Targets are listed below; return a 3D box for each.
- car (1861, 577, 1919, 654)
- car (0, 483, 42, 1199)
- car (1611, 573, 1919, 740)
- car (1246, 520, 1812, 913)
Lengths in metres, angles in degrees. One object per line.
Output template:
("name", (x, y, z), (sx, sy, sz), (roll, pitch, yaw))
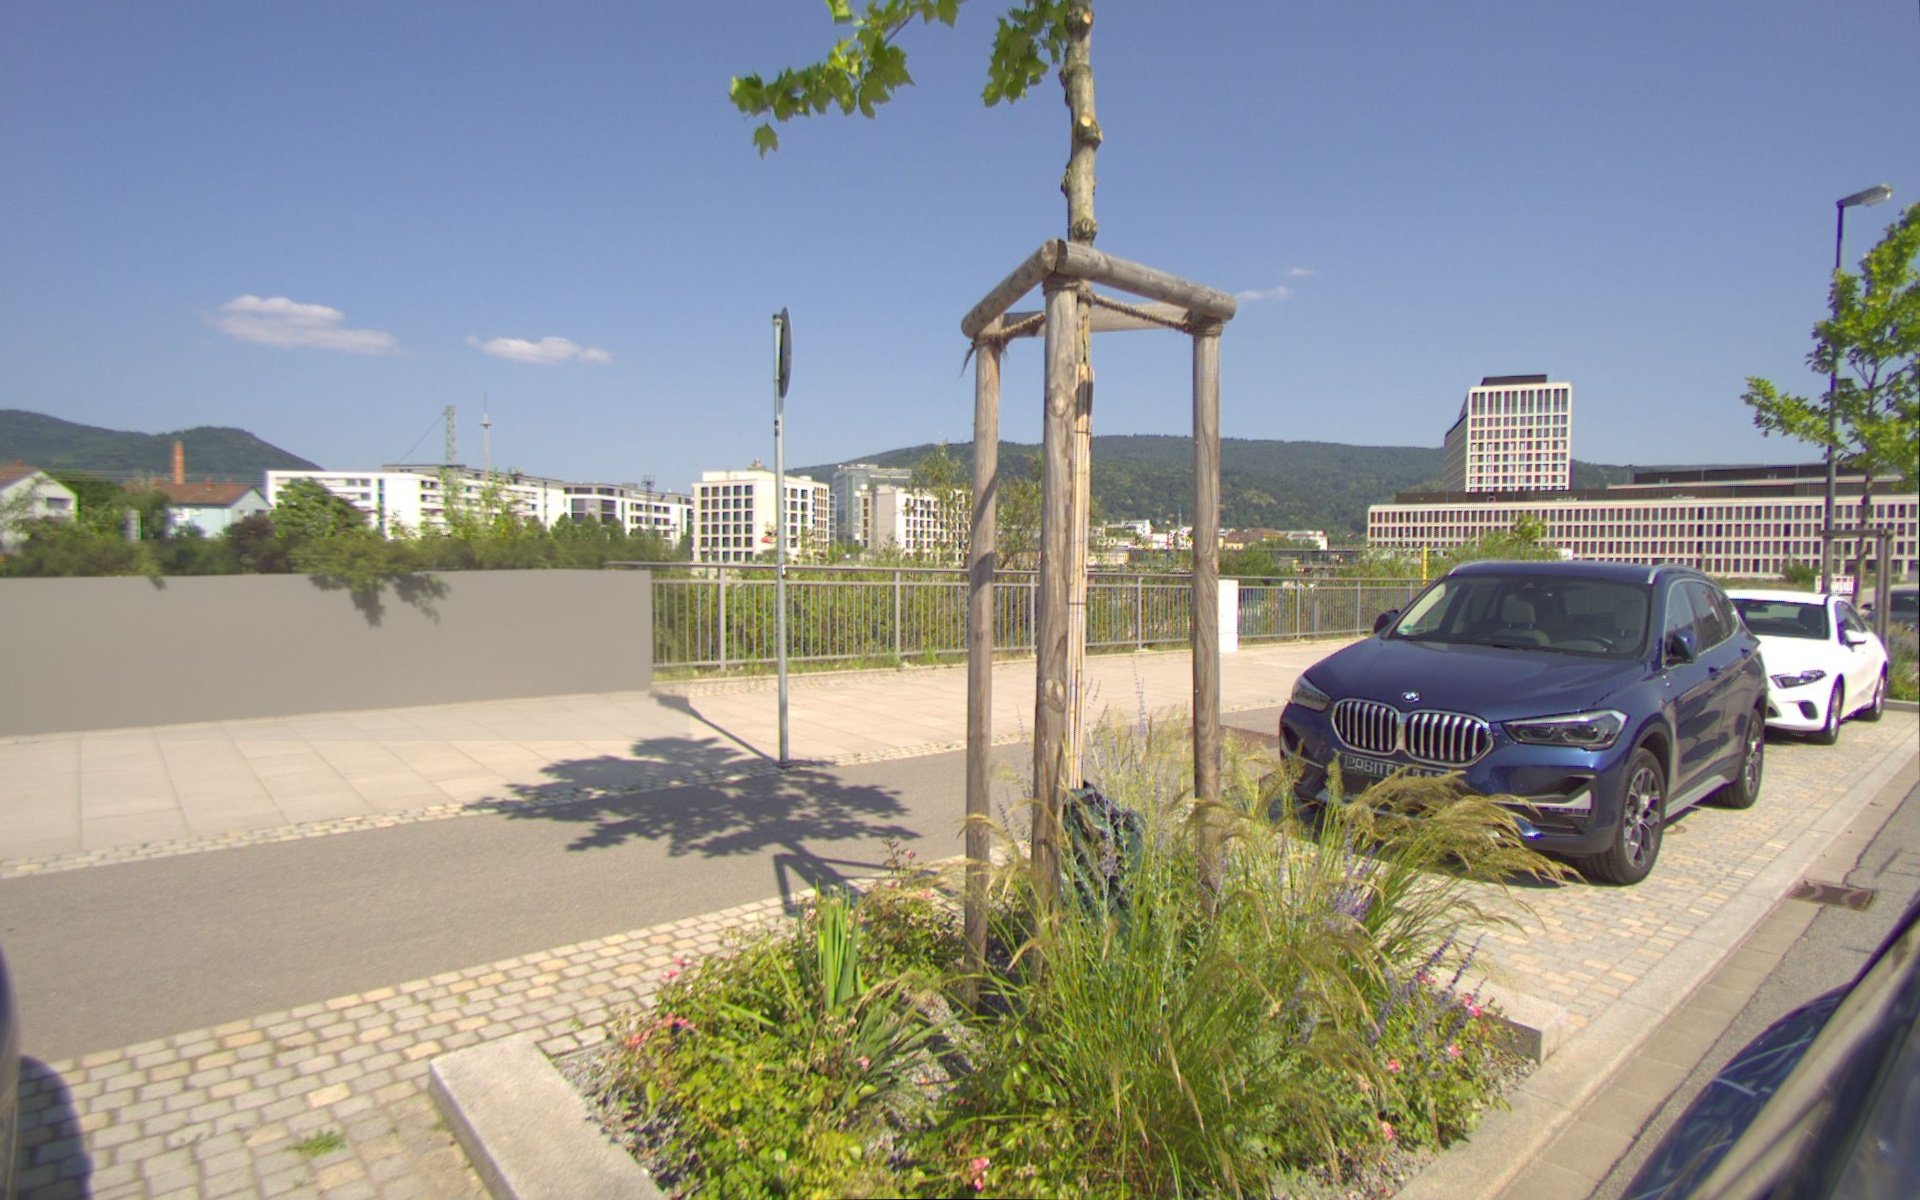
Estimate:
("car", (20.203, 0.301, 20.954), (3.849, 1.449, 1.808), (-1, 5, -41))
("car", (-2.843, 0.606, 0.501), (3.485, 1.574, 1.585), (0, 4, -41))
("car", (8.861, 0.455, 11.012), (4.194, 1.390, 1.711), (-1, 5, -39))
("car", (3.809, 0.418, 6.439), (4.197, 1.703, 1.807), (-1, 4, -41))
